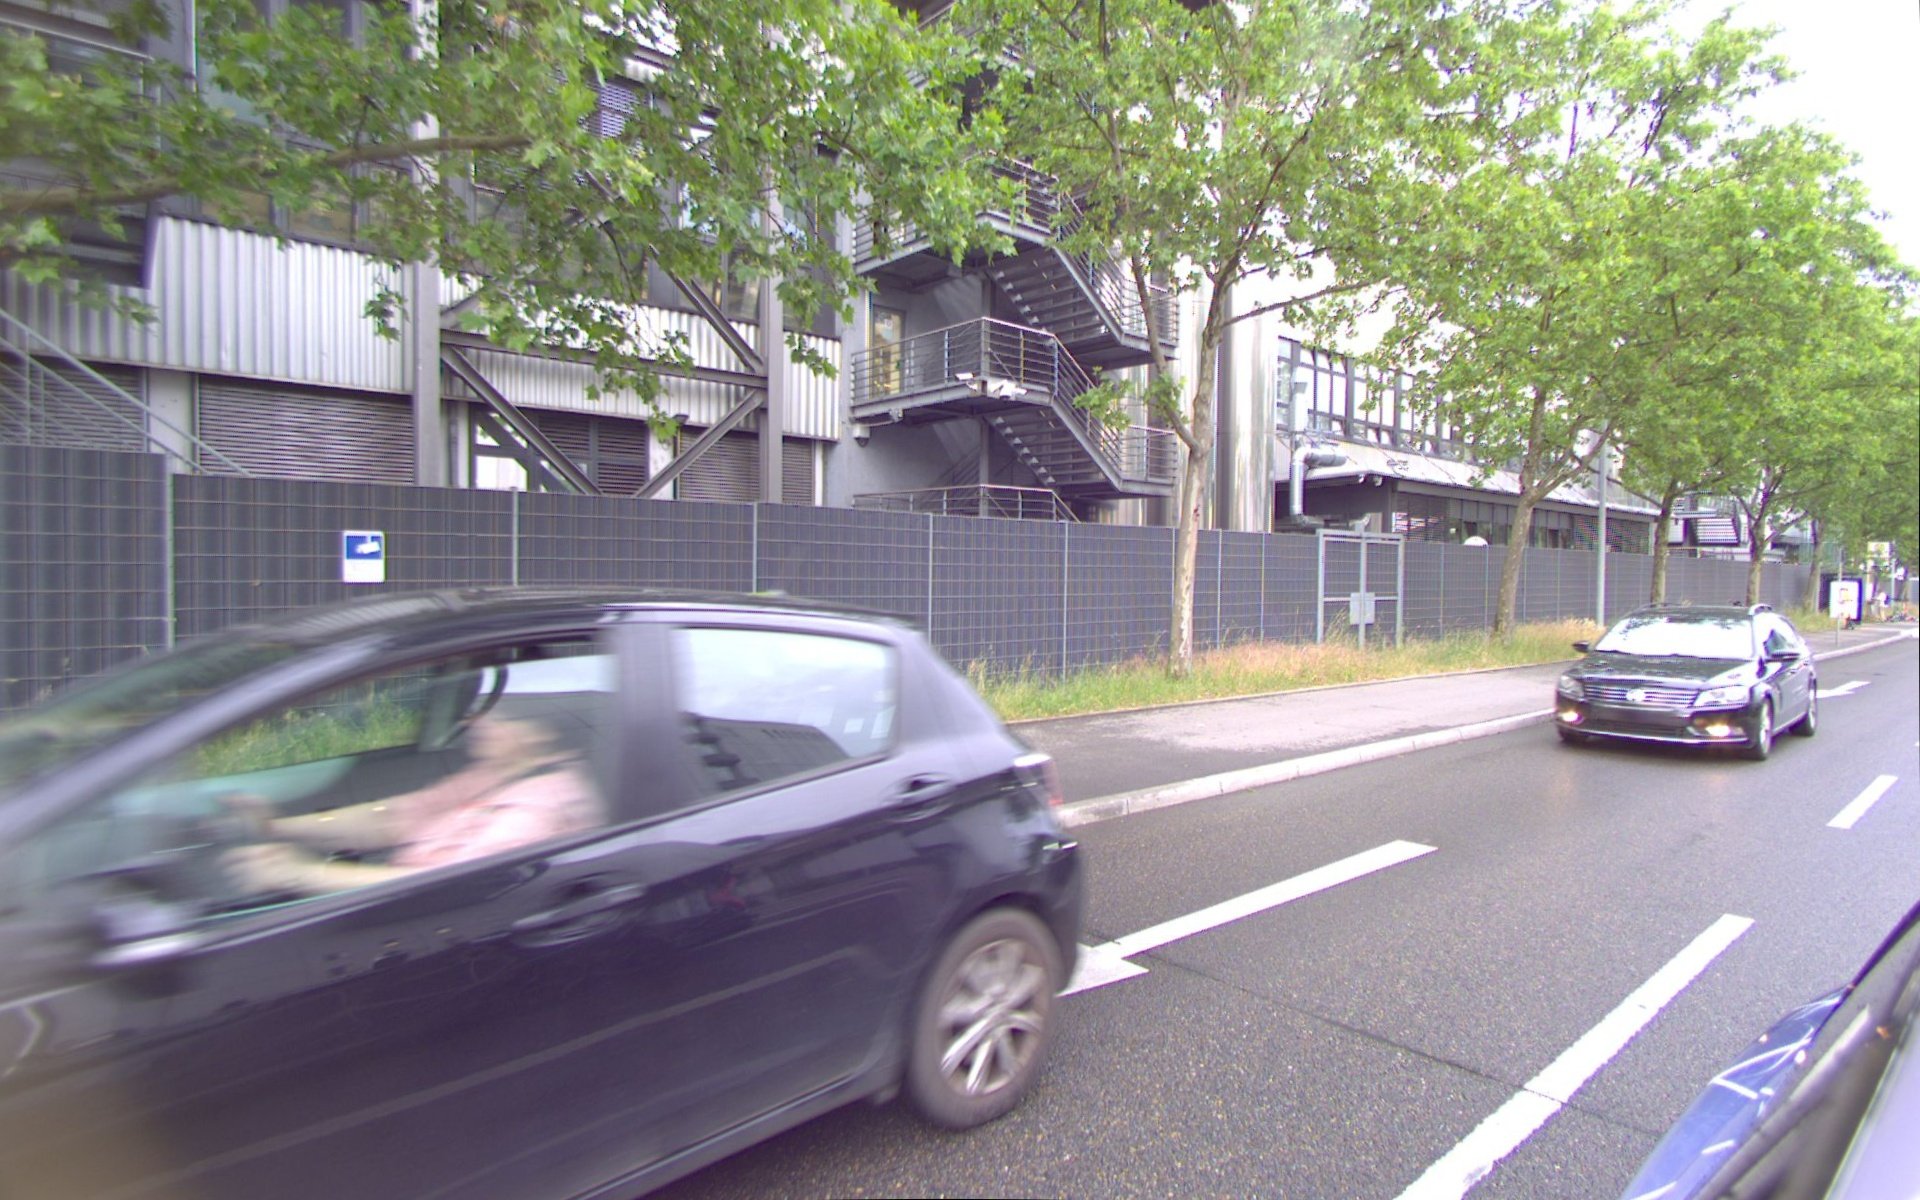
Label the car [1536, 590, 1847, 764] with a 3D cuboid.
[{"bbox_3d":[7.983,0.639,10.848,4.705,1.471,1.840,0,0,-43],"label":"car"}]

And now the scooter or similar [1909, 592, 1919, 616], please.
[{"bbox_3d":[52.550,0.213,55.483,1.341,1.311,0.437,0,1,-34],"label":"scooter or similar"}]

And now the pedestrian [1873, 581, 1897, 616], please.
[{"bbox_3d":[46.418,-0.076,50.777,0.717,1.731,0.777,0,1,-42],"label":"pedestrian"}]

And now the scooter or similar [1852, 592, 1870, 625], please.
[{"bbox_3d":[37.332,0.334,41.925,1.222,1.325,0.329,0,1,-37],"label":"scooter or similar"}]

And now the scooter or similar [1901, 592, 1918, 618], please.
[{"bbox_3d":[49.547,0.238,52.804,1.277,1.311,0.437,0,1,-39],"label":"scooter or similar"}]

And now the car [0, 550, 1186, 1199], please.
[{"bbox_3d":[-1.386,0.665,2.412,4.010,1.512,1.877,0,3,-45],"label":"car"}]

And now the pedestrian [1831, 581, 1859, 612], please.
[{"bbox_3d":[42.879,-0.176,49.015,0.686,1.433,0.932,0,1,-42],"label":"pedestrian"}]

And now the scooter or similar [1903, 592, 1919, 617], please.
[{"bbox_3d":[51.032,0.224,54.267,1.277,1.311,0.437,0,1,-39],"label":"scooter or similar"}]
